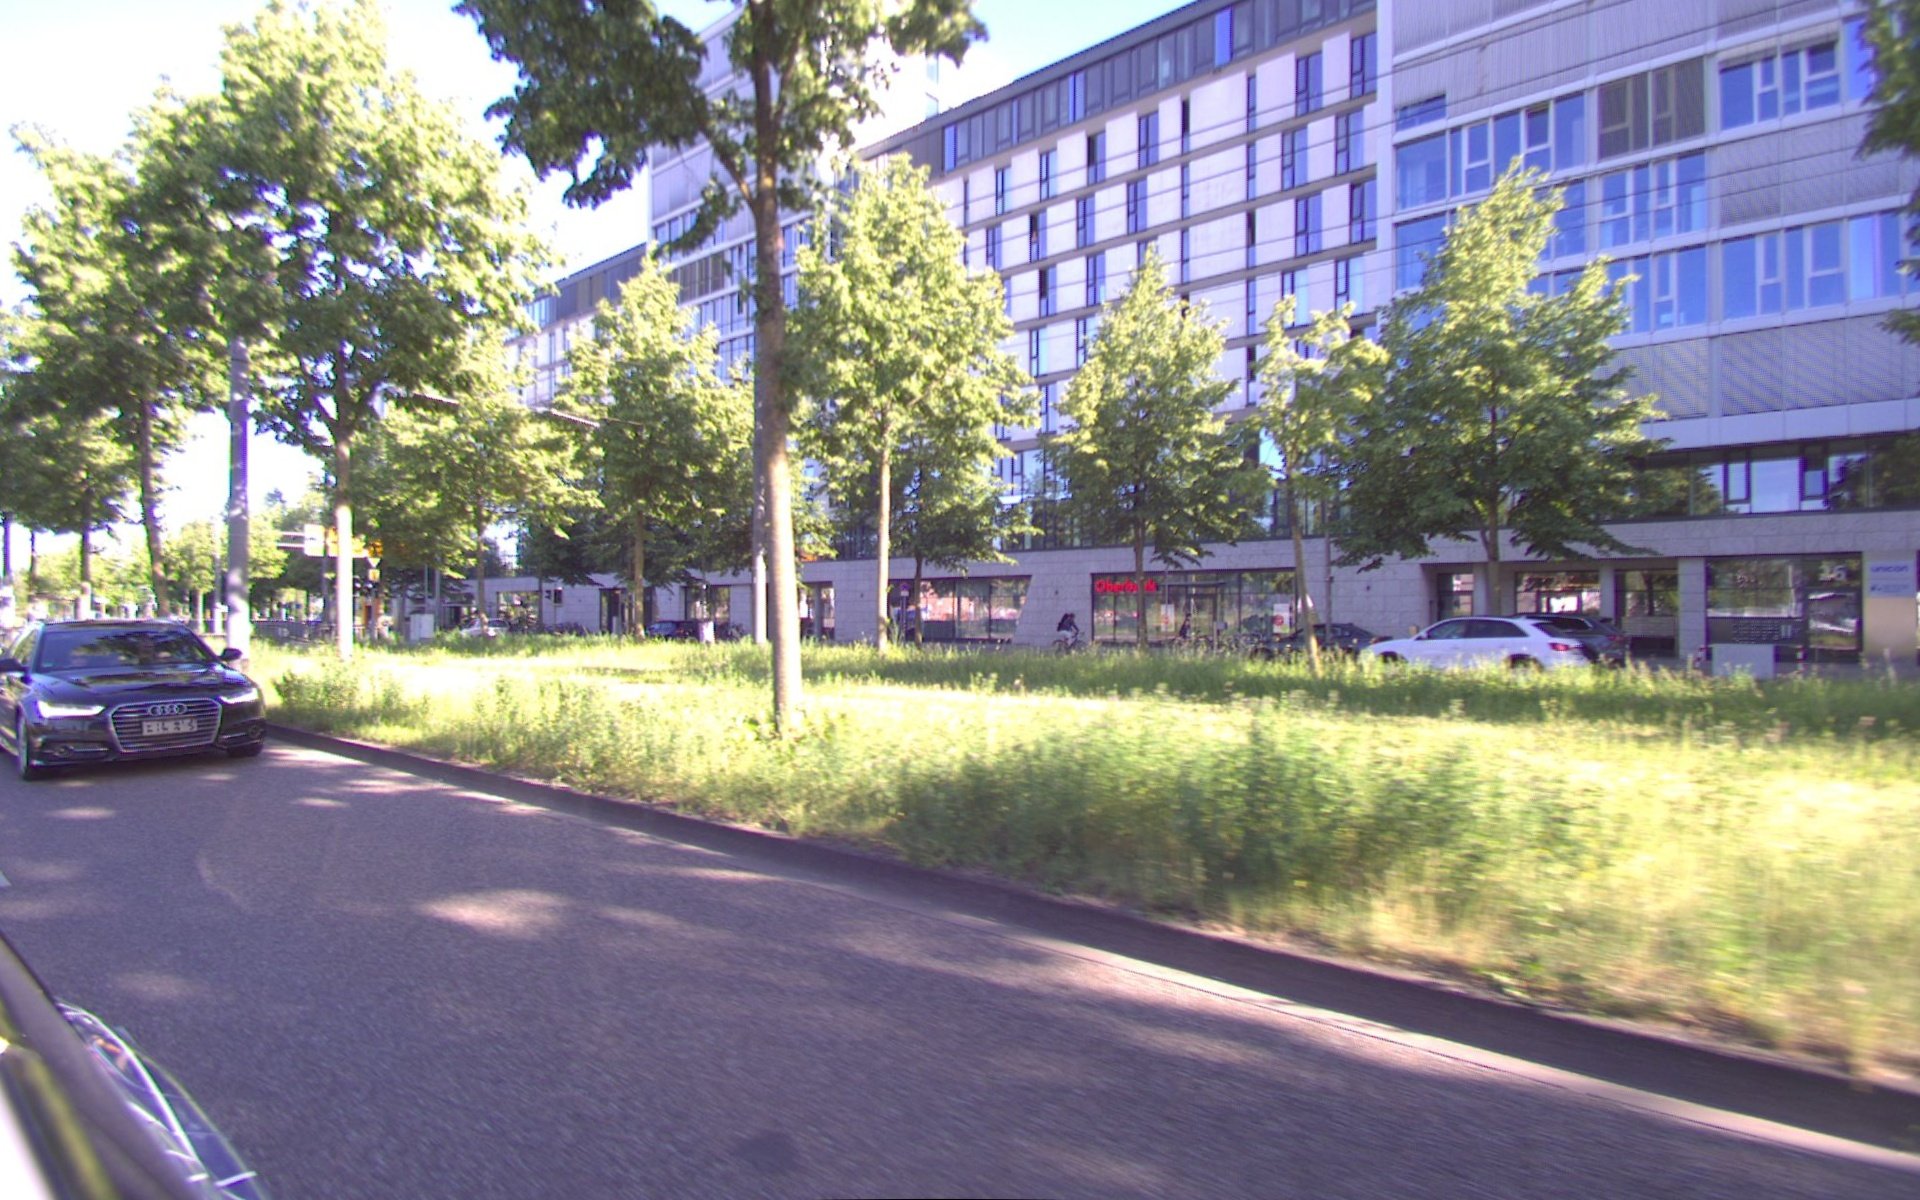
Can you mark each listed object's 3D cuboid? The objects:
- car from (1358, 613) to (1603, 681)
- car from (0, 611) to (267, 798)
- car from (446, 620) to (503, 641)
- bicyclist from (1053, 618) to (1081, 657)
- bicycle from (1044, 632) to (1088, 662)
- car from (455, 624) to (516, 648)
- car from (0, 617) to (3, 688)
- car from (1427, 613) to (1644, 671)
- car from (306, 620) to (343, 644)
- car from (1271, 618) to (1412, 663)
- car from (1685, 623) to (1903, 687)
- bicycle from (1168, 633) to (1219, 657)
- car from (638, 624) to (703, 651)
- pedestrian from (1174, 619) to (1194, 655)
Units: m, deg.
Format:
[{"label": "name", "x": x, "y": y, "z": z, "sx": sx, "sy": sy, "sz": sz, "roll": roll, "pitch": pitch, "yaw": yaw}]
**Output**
[{"label": "car", "x": 10.950, "y": 1.006, "z": 21.464, "sx": 4.307, "sy": 1.302, "sz": 1.779, "roll": -3, "pitch": -3, "yaw": 40}, {"label": "car", "x": -9.004, "y": 0.910, "z": 10.633, "sx": 4.599, "sy": 1.538, "sz": 1.765, "roll": -1, "pitch": -1, "yaw": 41}, {"label": "car", "x": -33.304, "y": 2.081, "z": 69.356, "sx": 4.543, "sy": 1.431, "sz": 1.938, "roll": -1, "pitch": -1, "yaw": 41}, {"label": "bicyclist", "x": 4.151, "y": 1.431, "z": 39.191, "sx": 0.832, "sy": 1.474, "sz": 0.712, "roll": -1, "pitch": -1, "yaw": 43}, {"label": "bicycle", "x": 4.111, "y": 1.805, "z": 39.232, "sx": 1.571, "sy": 1.128, "sz": 0.724, "roll": -1, "pitch": -1, "yaw": 43}, {"label": "car", "x": -26.072, "y": 1.943, "z": 55.610, "sx": 3.482, "sy": 1.247, "sz": 1.751, "roll": -1, "pitch": -1, "yaw": 40}, {"label": "car", "x": -23.688, "y": 1.193, "z": 23.362, "sx": 4.525, "sy": 1.581, "sz": 1.825, "roll": -1, "pitch": -1, "yaw": 40}, {"label": "car", "x": 15.196, "y": 1.076, "z": 26.893, "sx": 4.802, "sy": 1.430, "sz": 1.651, "roll": -1, "pitch": -2, "yaw": 41}, {"label": "car", "x": -56.389, "y": 2.805, "z": 89.806, "sx": 3.999, "sy": 1.940, "sz": 1.780, "roll": 1, "pitch": 0, "yaw": 42}, {"label": "car", "x": 11.337, "y": 1.166, "z": 30.174, "sx": 3.580, "sy": 1.216, "sz": 1.651, "roll": -1, "pitch": -1, "yaw": 40}, {"label": "car", "x": 19.073, "y": 1.207, "z": 23.302, "sx": 3.751, "sy": 1.364, "sz": 1.715, "roll": -1, "pitch": -1, "yaw": 41}, {"label": "bicycle", "x": 9.471, "y": 1.813, "z": 41.120, "sx": 2.013, "sy": 0.887, "sz": 0.536, "roll": 0, "pitch": -1, "yaw": 41}, {"label": "car", "x": -15.226, "y": 1.948, "z": 53.185, "sx": 3.463, "sy": 1.244, "sz": 1.633, "roll": 1, "pitch": 0, "yaw": 41}, {"label": "pedestrian", "x": 9.038, "y": 1.478, "z": 40.862, "sx": 0.690, "sy": 1.423, "sz": 0.403, "roll": 1, "pitch": 0, "yaw": 41}]
